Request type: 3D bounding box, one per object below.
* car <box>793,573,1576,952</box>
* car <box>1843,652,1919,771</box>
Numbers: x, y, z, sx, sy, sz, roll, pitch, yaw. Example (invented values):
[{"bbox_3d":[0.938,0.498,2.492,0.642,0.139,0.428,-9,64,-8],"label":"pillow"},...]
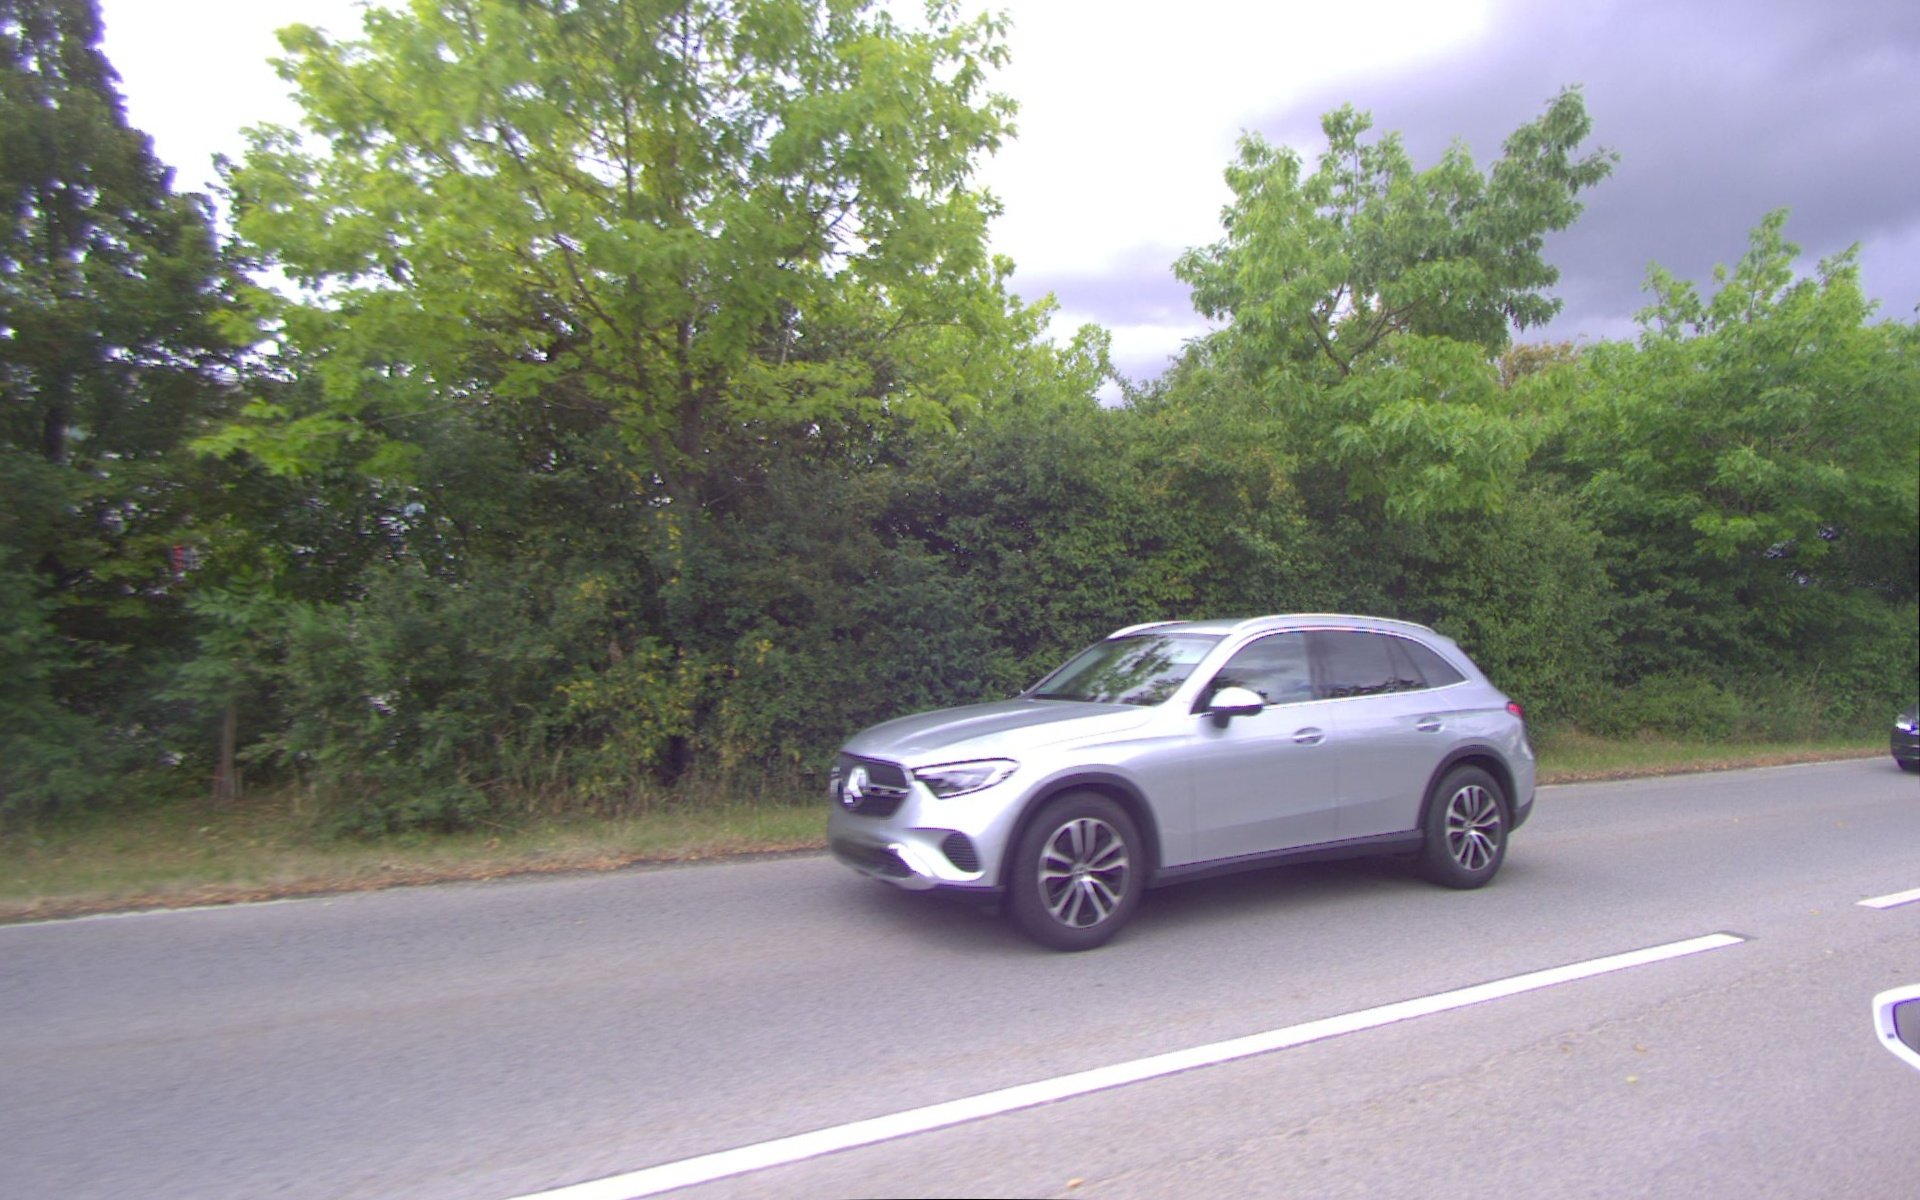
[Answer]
[{"bbox_3d":[1.486,0.825,6.288,4.606,1.622,1.986,2,-4,-28],"label":"car"},{"bbox_3d":[13.651,1.432,13.046,4.426,1.437,1.984,3,-4,-30],"label":"car"}]
